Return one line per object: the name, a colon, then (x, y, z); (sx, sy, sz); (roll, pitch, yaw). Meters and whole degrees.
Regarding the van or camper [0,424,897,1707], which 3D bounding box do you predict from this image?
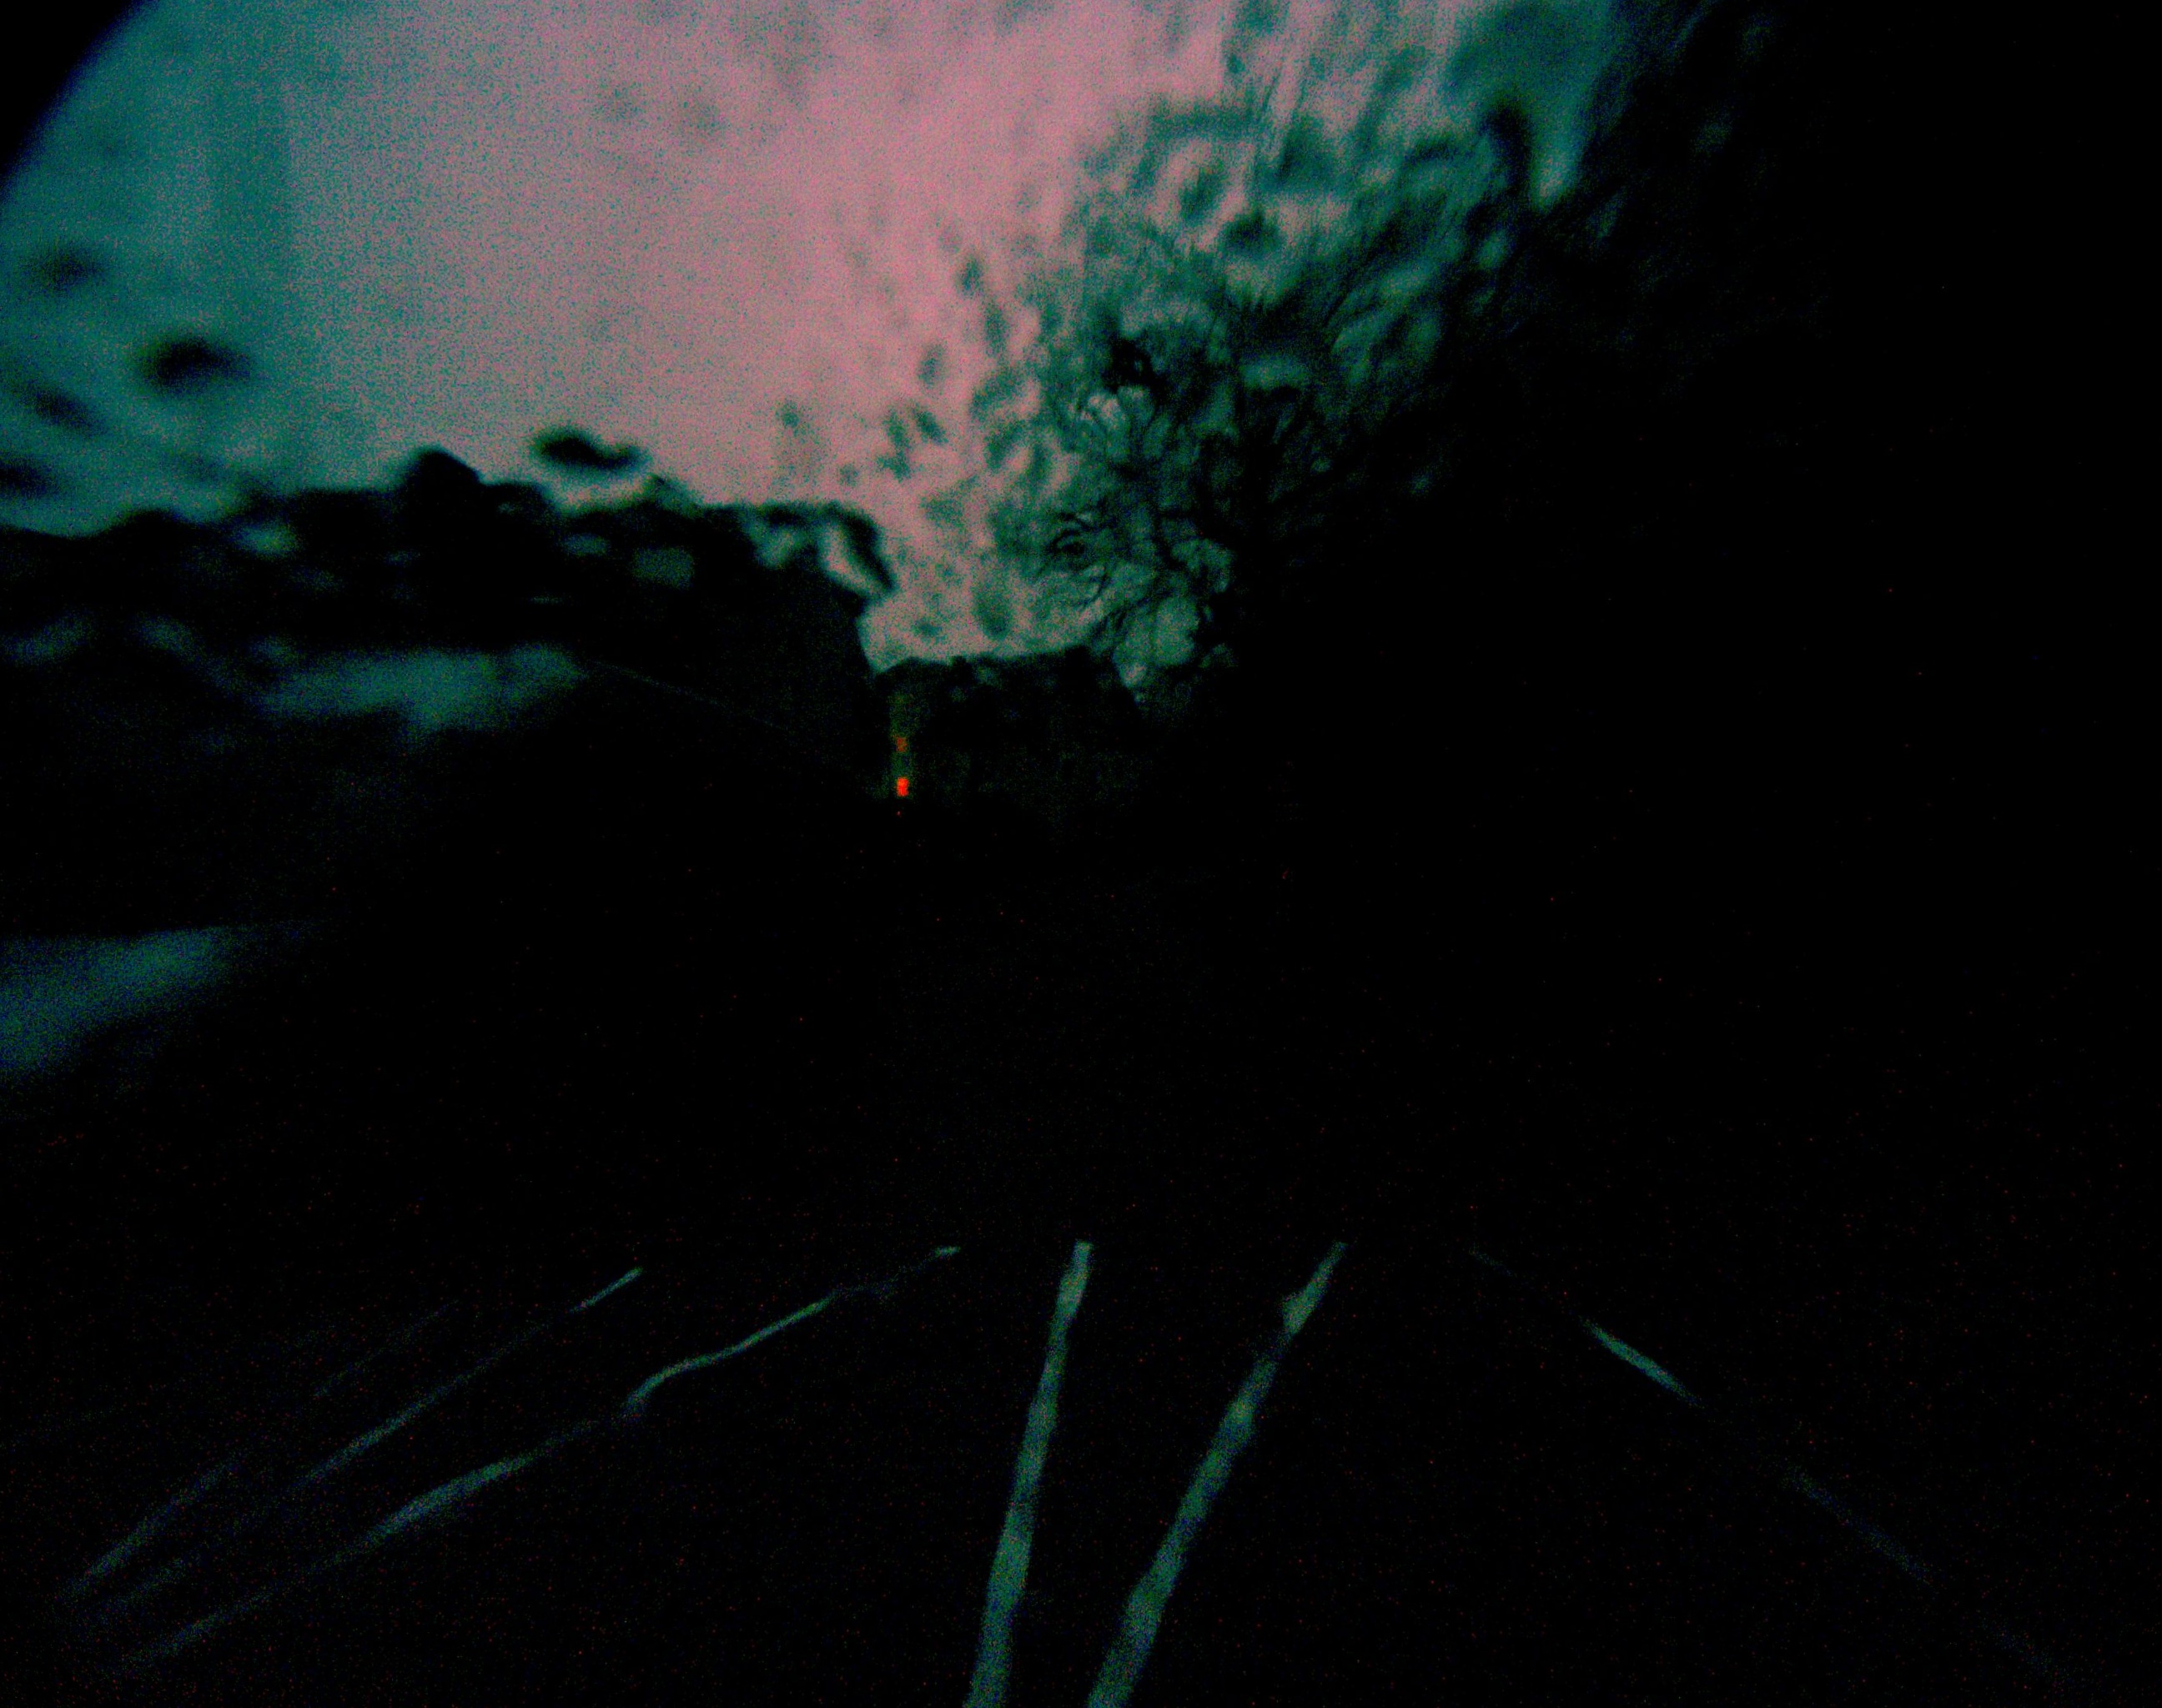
van or camper: (-2.932, 0.445, 4.205); (2.019, 2.493, 6.792); (-1, 1, 1)
